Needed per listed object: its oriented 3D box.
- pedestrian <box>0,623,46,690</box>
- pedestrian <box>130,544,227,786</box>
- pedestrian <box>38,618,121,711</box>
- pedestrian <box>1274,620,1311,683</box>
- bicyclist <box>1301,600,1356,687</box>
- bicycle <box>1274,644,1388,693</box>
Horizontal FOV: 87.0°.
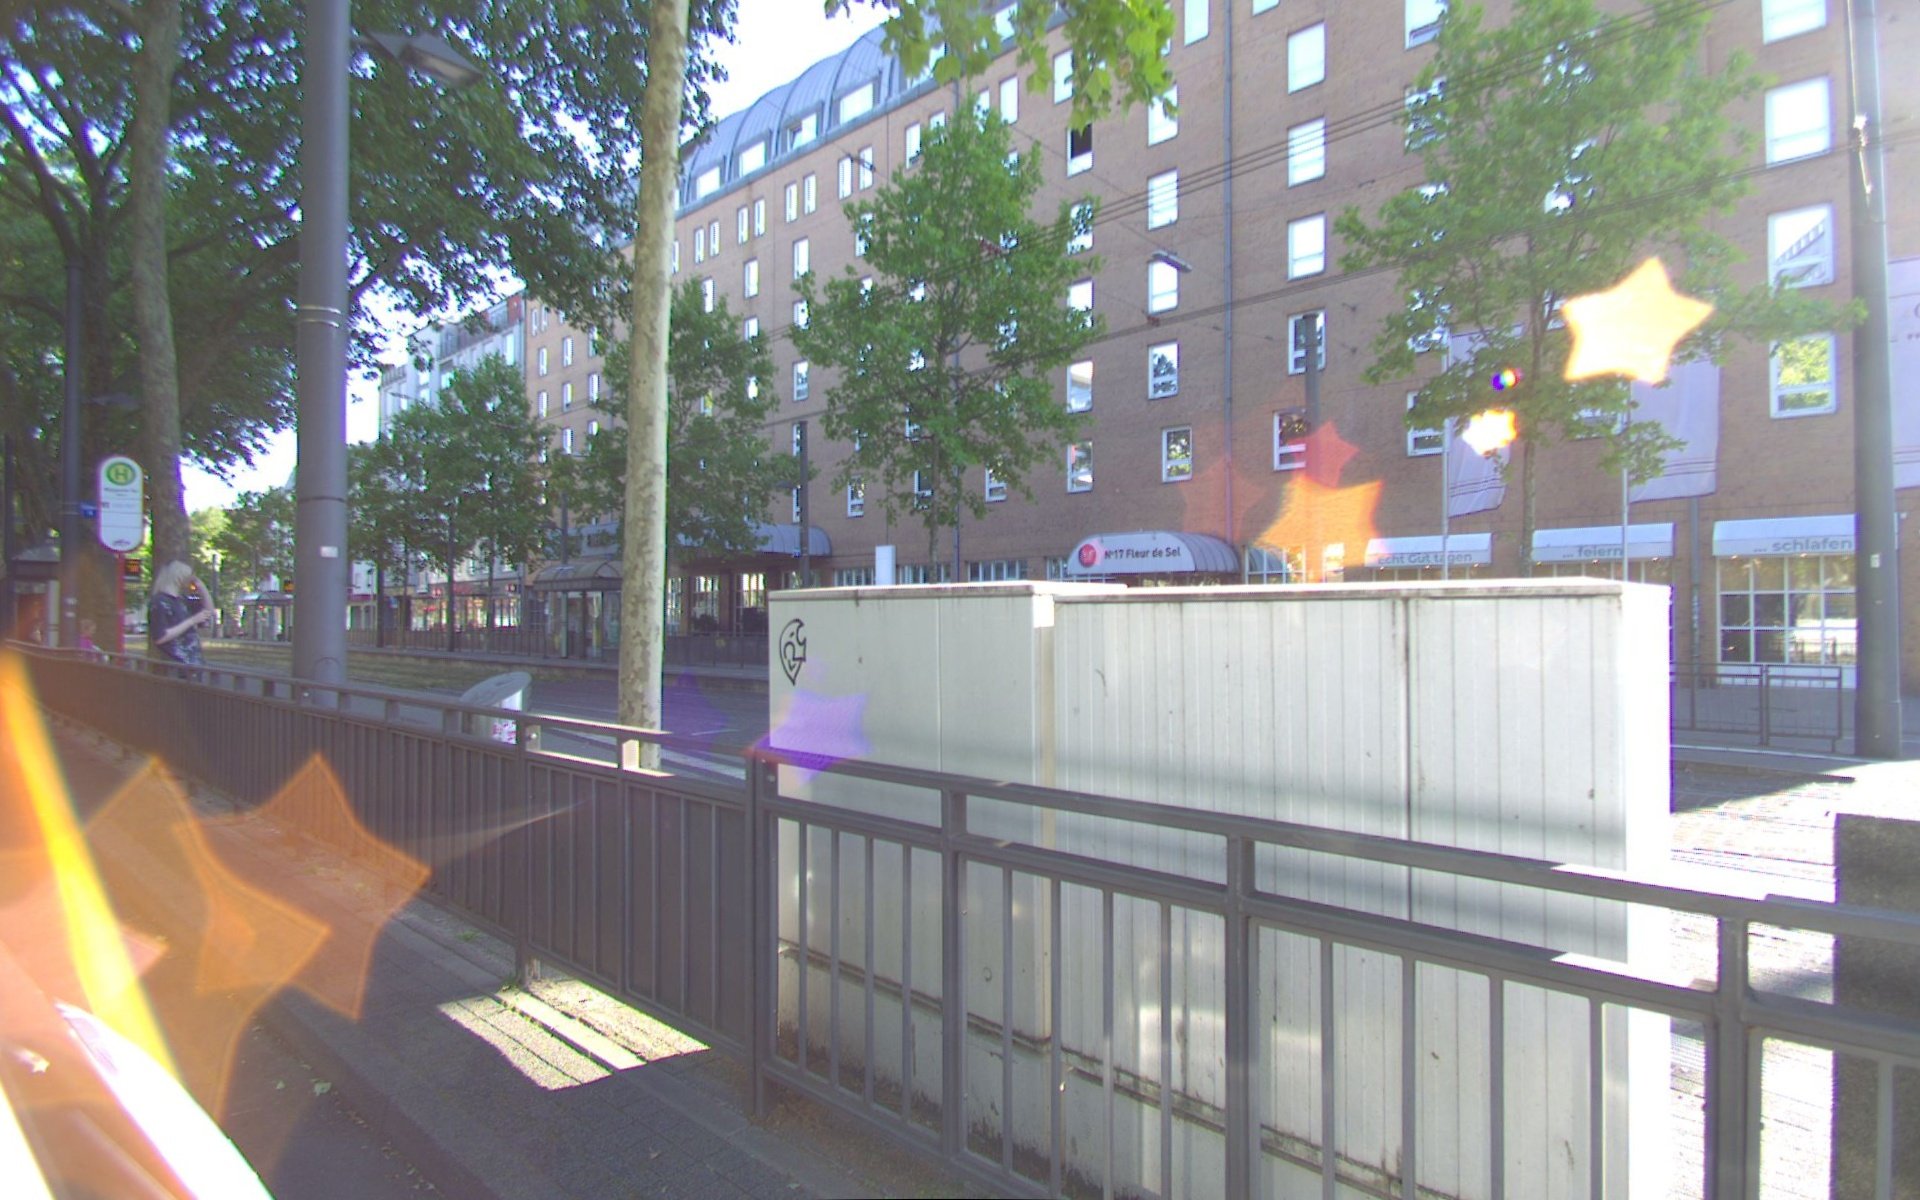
[{"bbox_3d":[-20.143,1.199,21.741,0.725,1.398,0.641,-1,0,-44],"label":"pedestrian"},{"bbox_3d":[-6.531,0.515,8.457,0.760,1.914,0.504,-1,0,42],"label":"pedestrian"},{"bbox_3d":[-14.110,1.004,16.226,0.965,1.410,0.665,-1,0,-44],"label":"pedestrian"},{"bbox_3d":[8.698,1.324,26.482,0.725,1.596,0.583,-1,0,40],"label":"pedestrian"},{"bbox_3d":[7.802,0.907,21.443,0.852,1.799,0.742,-2,-3,44],"label":"bicyclist"},{"bbox_3d":[7.816,1.420,21.402,2.185,0.940,0.658,-1,-2,44],"label":"bicycle"}]
